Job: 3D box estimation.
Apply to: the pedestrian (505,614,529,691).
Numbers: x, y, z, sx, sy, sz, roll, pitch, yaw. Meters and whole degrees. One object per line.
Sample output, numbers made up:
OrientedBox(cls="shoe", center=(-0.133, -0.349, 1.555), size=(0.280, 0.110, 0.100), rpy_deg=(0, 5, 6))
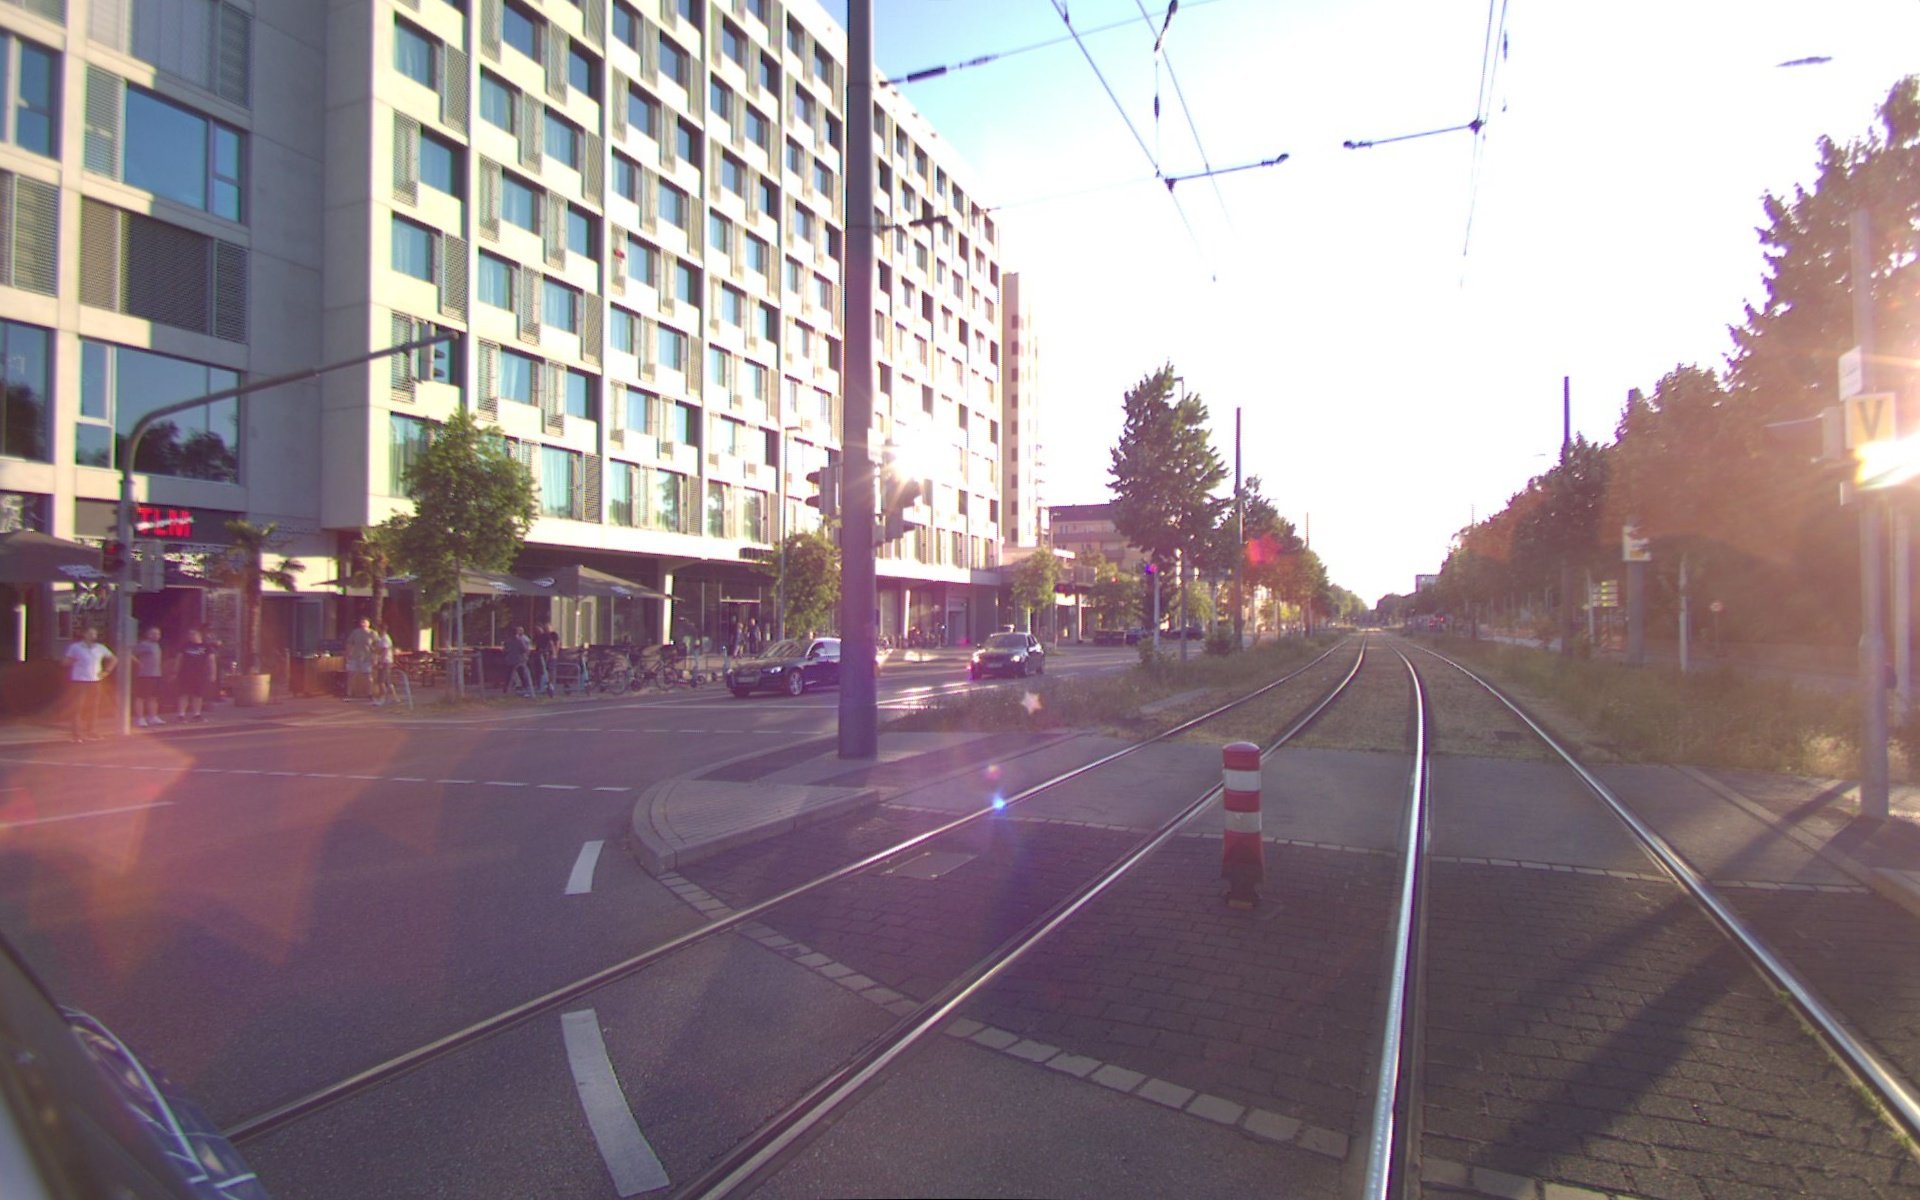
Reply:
OrientedBox(cls="pedestrian", center=(-11.770, 1.384, 26.888), size=(0.542, 2.029, 0.504), rpy_deg=(1, -2, -25))

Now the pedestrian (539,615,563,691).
OrientedBox(cls="pedestrian", center=(-11.064, 1.412, 27.388), size=(0.542, 2.029, 0.504), rpy_deg=(1, -2, -25))

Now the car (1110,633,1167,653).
OrientedBox(cls="car", center=(14.804, 3.543, 83.933), size=(4.212, 1.602, 2.015), rpy_deg=(1, -2, -17))

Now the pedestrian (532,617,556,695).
OrientedBox(cls="pedestrian", center=(-10.981, 1.461, 26.734), size=(0.542, 2.029, 0.504), rpy_deg=(1, -2, -25))

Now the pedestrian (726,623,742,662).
OrientedBox(cls="pedestrian", center=(-10.030, 1.876, 44.916), size=(0.427, 1.669, 0.512), rpy_deg=(2, -1, 24))

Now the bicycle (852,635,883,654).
OrientedBox(cls="bicycle", center=(-5.138, 2.474, 56.181), size=(1.734, 1.028, 0.418), rpy_deg=(0, -2, 20))

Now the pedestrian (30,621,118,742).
OrientedBox(cls="pedestrian", center=(-14.139, 1.271, 16.163), size=(0.704, 1.850, 0.757), rpy_deg=(2, -1, 21))

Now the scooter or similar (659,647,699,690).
OrientedBox(cls="scooter or similar", center=(-8.260, 1.994, 29.731), size=(1.178, 1.227, 0.335), rpy_deg=(-1, -2, 24))

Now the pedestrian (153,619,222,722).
OrientedBox(cls="pedestrian", center=(-14.351, 1.294, 18.804), size=(0.704, 1.850, 0.676), rpy_deg=(2, -2, 22))

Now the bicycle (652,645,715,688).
OrientedBox(cls="bicycle", center=(-8.368, 1.992, 30.590), size=(1.901, 1.208, 0.440), rpy_deg=(1, -1, 20))

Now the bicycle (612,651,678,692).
OrientedBox(cls="bicycle", center=(-8.942, 2.007, 28.696), size=(1.901, 1.067, 0.440), rpy_deg=(1, -1, 20))

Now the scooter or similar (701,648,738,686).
OrientedBox(cls="scooter or similar", center=(-7.552, 2.092, 31.766), size=(1.178, 1.172, 0.335), rpy_deg=(-1, -2, 24))

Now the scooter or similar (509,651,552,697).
OrientedBox(cls="scooter or similar", center=(-10.681, 1.836, 25.161), size=(0.969, 1.093, 0.335), rpy_deg=(2, -4, 24))

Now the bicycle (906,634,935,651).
OrientedBox(cls="bicycle", center=(-2.431, 2.580, 62.263), size=(1.779, 1.028, 0.418), rpy_deg=(0, -2, 20))

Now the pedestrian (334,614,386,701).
OrientedBox(cls="pedestrian", center=(-13.695, 1.300, 23.107), size=(0.677, 1.938, 0.703), rpy_deg=(2, -1, 24))

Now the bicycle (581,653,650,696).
OrientedBox(cls="bicycle", center=(-9.365, 2.002, 27.476), size=(1.901, 1.067, 0.440), rpy_deg=(1, -1, 20))

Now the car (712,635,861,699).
OrientedBox(cls="car", center=(-4.340, 1.674, 25.996), size=(1.878, 1.451, 4.193), rpy_deg=(-3, -2, 21))

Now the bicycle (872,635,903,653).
OrientedBox(cls="bicycle", center=(-4.235, 2.557, 58.726), size=(1.779, 1.028, 0.418), rpy_deg=(0, -2, 20))

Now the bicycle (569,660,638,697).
OrientedBox(cls="bicycle", center=(-9.510, 2.078, 27.020), size=(1.856, 0.877, 0.440), rpy_deg=(1, -1, 20))

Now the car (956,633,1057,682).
OrientedBox(cls="car", center=(1.637, 1.857, 33.584), size=(2.006, 1.452, 4.769), rpy_deg=(-2, -2, 19))

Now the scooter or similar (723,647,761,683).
OrientedBox(cls="scooter or similar", center=(-7.067, 2.101, 32.805), size=(1.178, 1.065, 0.335), rpy_deg=(4, 2, 24))

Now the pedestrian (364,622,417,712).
OrientedBox(cls="pedestrian", center=(-12.681, 1.465, 22.539), size=(0.677, 1.938, 0.702), rpy_deg=(2, -1, 25))

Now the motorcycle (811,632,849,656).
OrientedBox(cls="motorcycle", center=(-6.772, 2.288, 52.808), size=(1.876, 1.180, 0.514), rpy_deg=(1, -2, 8))

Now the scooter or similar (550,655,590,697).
OrientedBox(cls="scooter or similar", center=(-10.048, 1.946, 26.080), size=(1.003, 1.042, 0.289), rpy_deg=(0, -3, 24))

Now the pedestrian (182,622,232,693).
OrientedBox(cls="pedestrian", center=(-17.658, 1.336, 23.742), size=(0.678, 1.616, 0.701), rpy_deg=(-1, -2, 30))

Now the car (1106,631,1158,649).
OrientedBox(cls="car", center=(15.171, 3.553, 89.409), size=(4.061, 1.446, 1.831), rpy_deg=(2, -1, -16))
